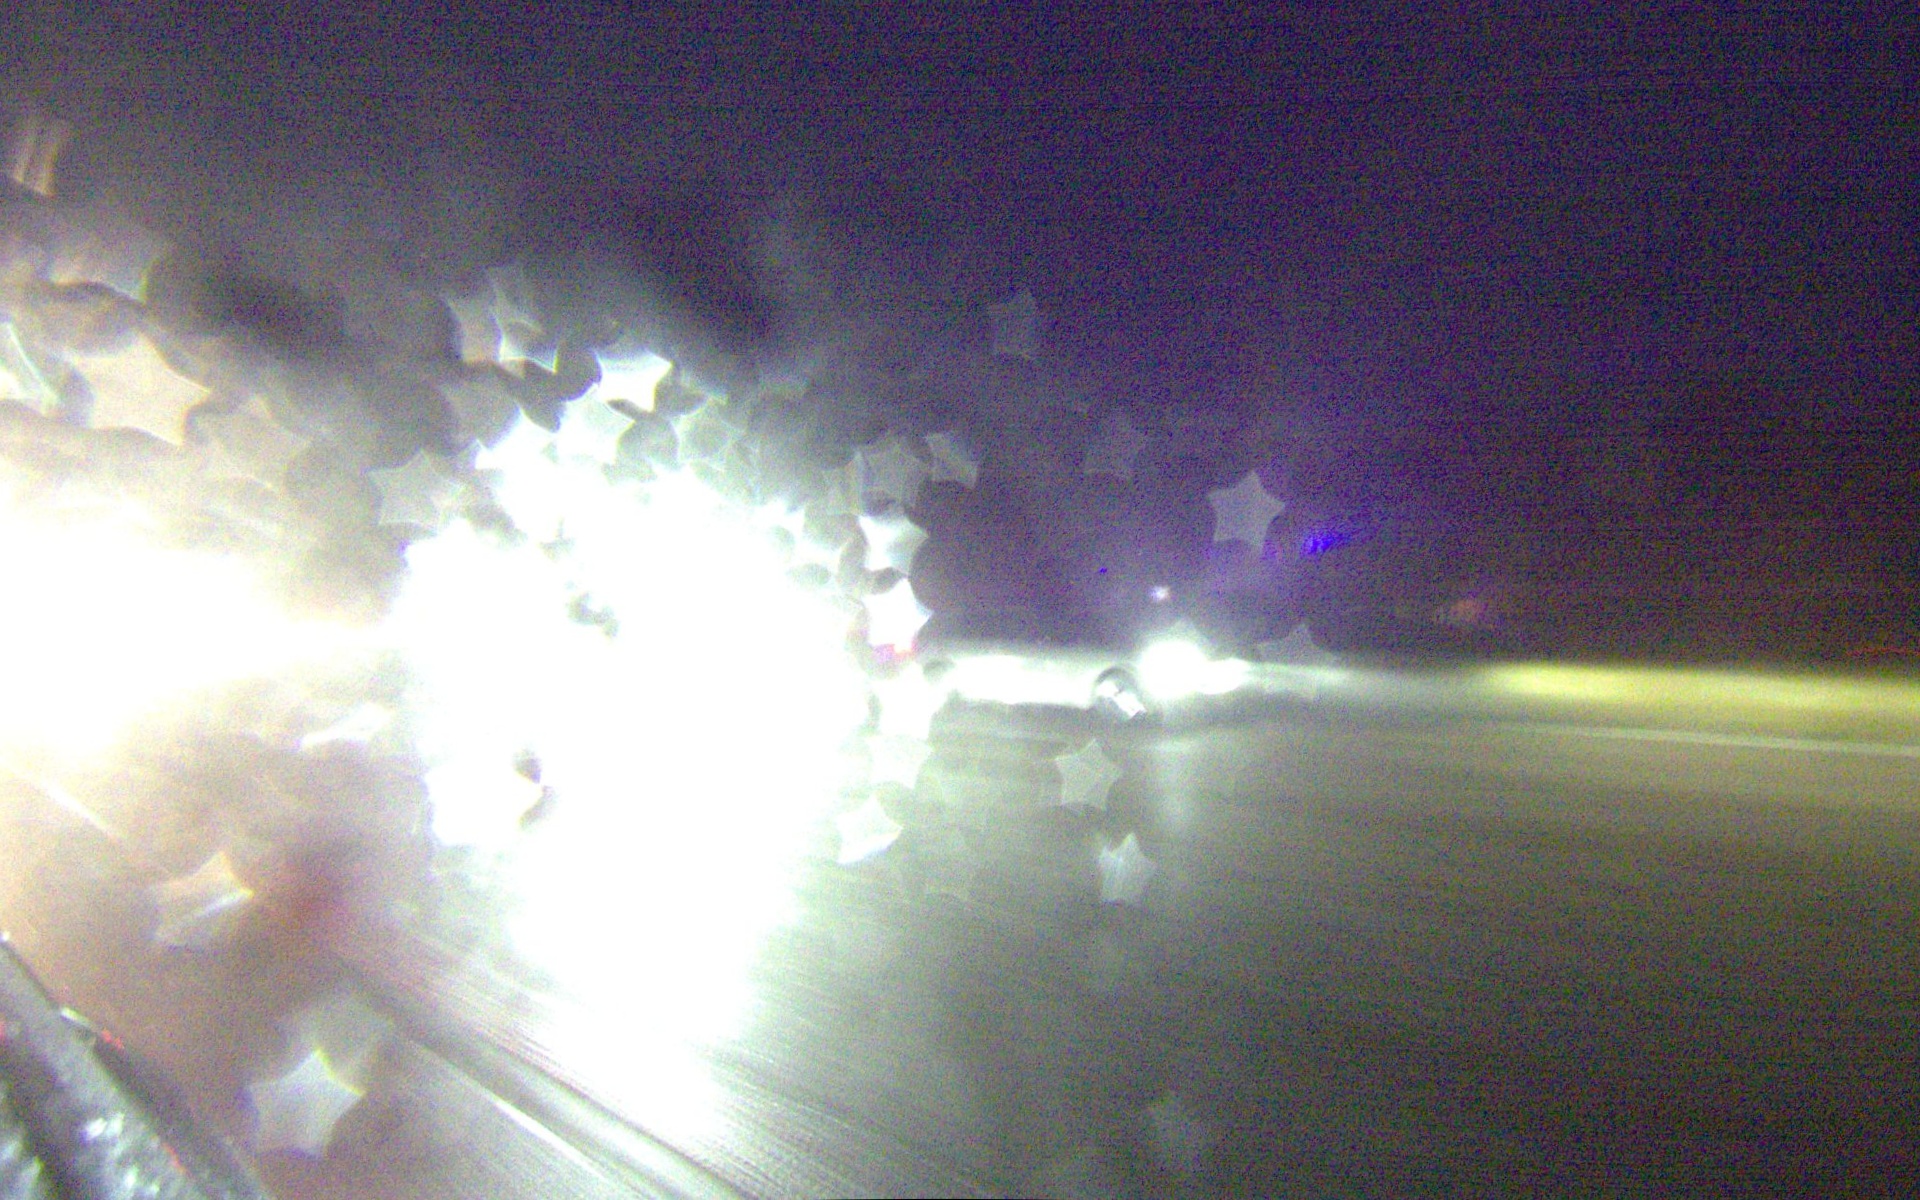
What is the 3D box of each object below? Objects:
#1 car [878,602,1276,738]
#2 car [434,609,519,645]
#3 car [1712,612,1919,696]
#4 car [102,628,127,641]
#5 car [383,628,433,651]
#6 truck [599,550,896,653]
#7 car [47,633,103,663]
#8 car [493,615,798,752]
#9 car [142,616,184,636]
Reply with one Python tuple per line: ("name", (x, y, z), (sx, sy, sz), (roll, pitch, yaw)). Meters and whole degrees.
("car", (1.398, 0.803, 13.723), (5.163, 1.487, 1.973), (-1, 0, 41))
("car", (-22.281, 1.216, 46.551), (4.457, 1.569, 1.861), (-1, 0, 40))
("car", (18.176, 1.053, 20.622), (4.457, 1.569, 1.861), (-1, 0, 40))
("car", (-111.271, 4.557, 133.171), (4.457, 1.569, 1.861), (-1, 0, 41))
("car", (-41.734, 2.952, 76.479), (4.457, 1.569, 1.861), (-1, 0, 40))
("truck", (-10.186, 0.119, 45.433), (17.174, 3.917, 3.463), (-1, 0, 42))
("car", (-53.204, 2.844, 60.830), (4.586, 1.572, 1.972), (-1, 0, 42))
("car", (-4.150, 0.936, 13.060), (3.998, 1.452, 1.973), (-1, 0, 41))
("car", (-65.874, 2.106, 83.655), (4.457, 1.569, 1.861), (-1, 0, 40))
